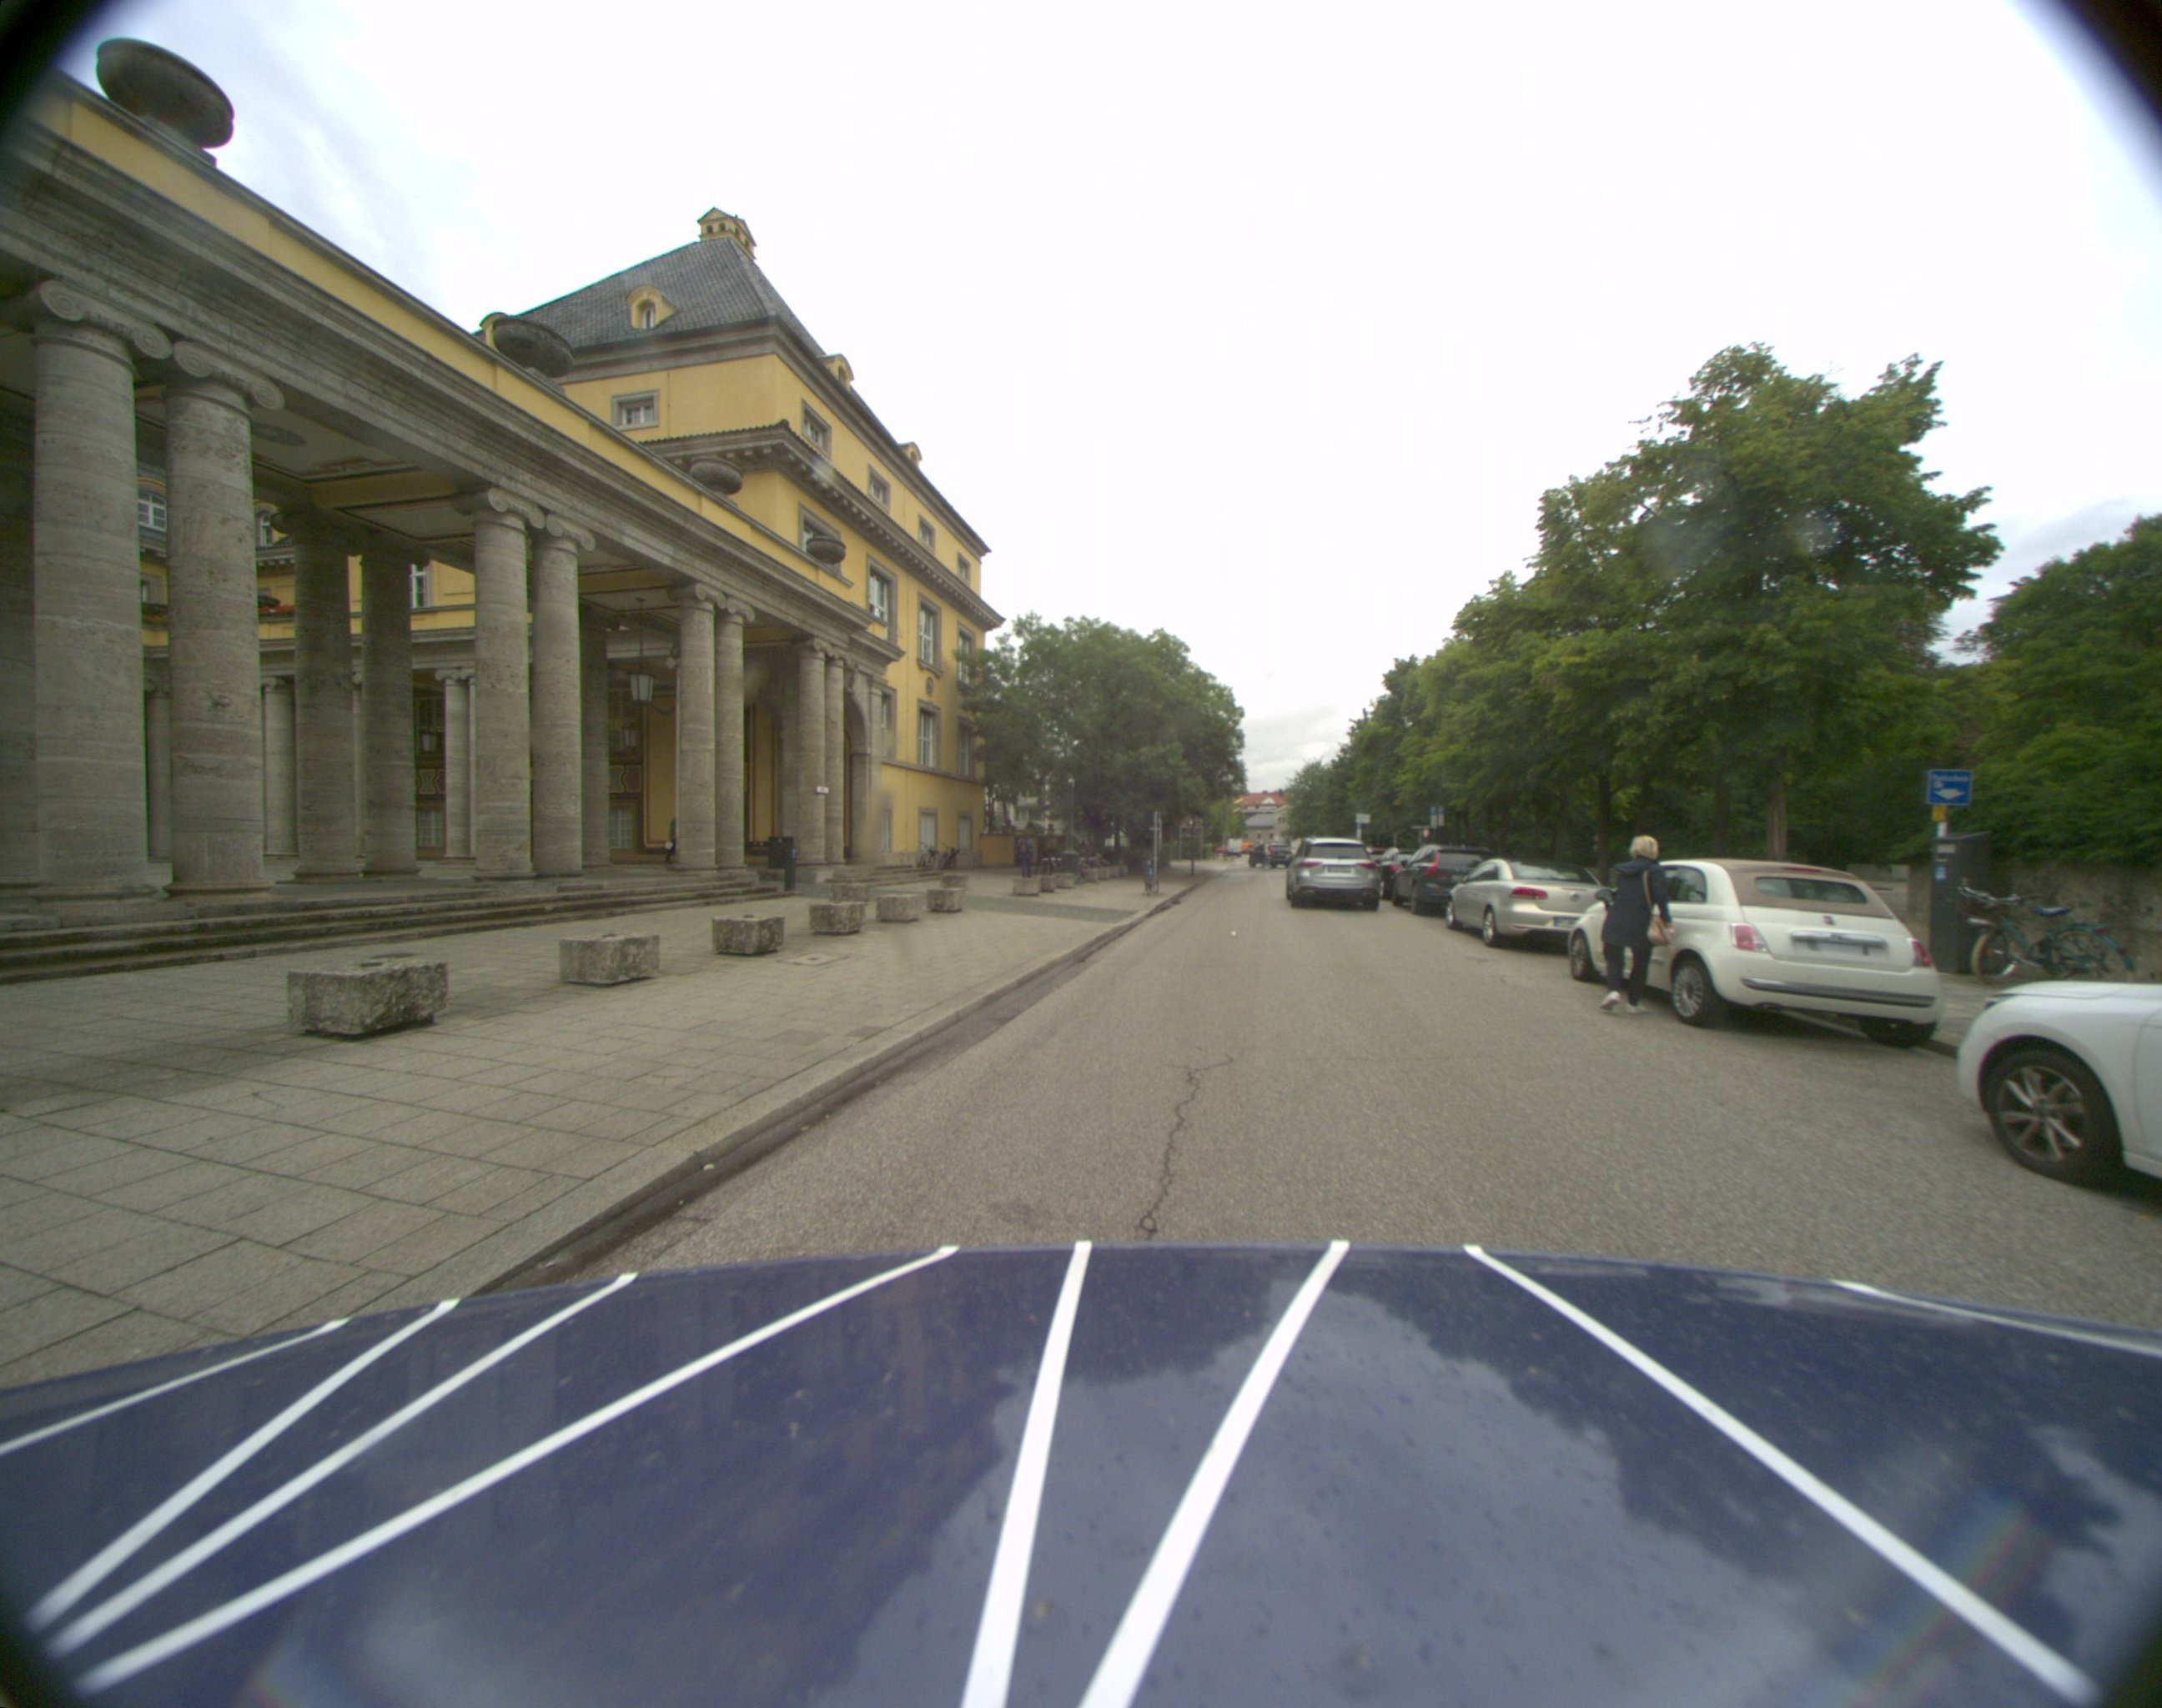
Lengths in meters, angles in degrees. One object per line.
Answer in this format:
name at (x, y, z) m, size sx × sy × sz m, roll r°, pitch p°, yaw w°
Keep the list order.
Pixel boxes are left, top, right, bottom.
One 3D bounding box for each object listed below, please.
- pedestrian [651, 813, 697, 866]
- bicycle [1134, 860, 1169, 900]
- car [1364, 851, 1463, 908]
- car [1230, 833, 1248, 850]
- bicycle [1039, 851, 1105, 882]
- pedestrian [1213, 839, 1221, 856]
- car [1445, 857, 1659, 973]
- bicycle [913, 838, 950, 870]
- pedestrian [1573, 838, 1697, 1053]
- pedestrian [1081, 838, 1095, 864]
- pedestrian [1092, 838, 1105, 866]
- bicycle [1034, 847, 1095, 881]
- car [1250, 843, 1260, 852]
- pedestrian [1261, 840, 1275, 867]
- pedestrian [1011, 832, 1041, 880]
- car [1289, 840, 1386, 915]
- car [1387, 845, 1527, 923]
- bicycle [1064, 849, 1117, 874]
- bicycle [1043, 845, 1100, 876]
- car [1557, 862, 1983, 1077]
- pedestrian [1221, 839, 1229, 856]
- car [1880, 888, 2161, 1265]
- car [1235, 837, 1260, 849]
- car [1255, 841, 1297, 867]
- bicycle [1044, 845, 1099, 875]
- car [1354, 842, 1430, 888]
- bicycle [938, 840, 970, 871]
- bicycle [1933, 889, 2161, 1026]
pedestrian at (-13.562, -0.480, 25.357) m, size 0.983 × 1.710 × 0.806 m, roll -2°, pitch 2°, yaw 2°
bicycle at (2.226, 0.786, 23.798) m, size 0.761 × 1.094 × 2.266 m, roll 3°, pitch 2°, yaw 13°
car at (9.980, 0.689, 23.174) m, size 1.996 × 1.453 × 4.651 m, roll 2°, pitch 1°, yaw 14°
car at (22.807, -1.818, 109.948) m, size 2.234 × 2.289 × 4.732 m, roll -2°, pitch 1°, yaw 8°
bicycle at (-0.320, 0.462, 28.466) m, size 2.367 × 1.000 × 0.678 m, roll 3°, pitch 2°, yaw 5°
pedestrian at (15.380, -0.708, 85.999) m, size 0.776 × 1.855 × 0.997 m, roll -2°, pitch 2°, yaw 5°
car at (7.457, 0.839, 12.555) m, size 1.760 × 1.392 × 4.221 m, roll 4°, pitch 2°, yaw 15°
bicycle at (-6.187, -0.021, 31.570) m, size 0.600 × 1.299 × 2.266 m, roll 2°, pitch 2°, yaw 13°
pedestrian at (4.954, 0.758, 6.786) m, size 0.688 × 1.742 × 0.895 m, roll 5°, pitch 2°, yaw 43°
pedestrian at (0.476, -0.220, 52.876) m, size 0.740 × 1.735 × 0.842 m, roll 4°, pitch 3°, yaw 13°
pedestrian at (1.202, -0.147, 52.805) m, size 0.658 × 1.855 × 0.821 m, roll 4°, pitch 3°, yaw 13°
bicycle at (-0.621, 0.381, 29.772) m, size 2.262 × 1.089 × 0.601 m, roll 6°, pitch 3°, yaw 2°
car at (37.695, -1.372, 164.578) m, size 2.219 × 1.840 × 4.734 m, roll -2°, pitch 1°, yaw 13°
pedestrian at (12.429, -0.044, 50.529) m, size 0.797 × 1.722 × 0.661 m, roll -2°, pitch 2°, yaw 12°
pedestrian at (-2.027, 0.059, 27.881) m, size 0.789 × 1.736 × 1.057 m, roll 2°, pitch 2°, yaw 13°
car at (6.520, 0.496, 19.772) m, size 2.027 × 1.680 × 4.682 m, roll 2°, pitch 1°, yaw 15°
car at (8.826, 0.596, 18.288) m, size 1.996 × 1.574 × 4.526 m, roll 2°, pitch 1°, yaw 13°
bicycle at (0.423, 0.327, 34.495) m, size 2.259 × 1.005 × 0.602 m, roll 3°, pitch 1°, yaw 16°
bicycle at (-0.391, 0.257, 31.531) m, size 2.262 × 1.053 × 0.601 m, roll 6°, pitch 3°, yaw 2°
car at (6.333, 0.884, 7.578) m, size 1.545 × 1.462 × 3.556 m, roll 3°, pitch 2°, yaw 13°
pedestrian at (16.282, -0.759, 85.742) m, size 0.776 × 1.855 × 0.998 m, roll -2°, pitch 2°, yaw 7°
car at (5.029, 1.002, 2.159) m, size 1.683 × 1.432 × 4.283 m, roll 4°, pitch 2°, yaw 14°
car at (37.443, -2.512, 171.143) m, size 2.577 × 2.521 × 4.975 m, roll -3°, pitch 2°, yaw -33°
car at (13.974, -0.036, 54.694) m, size 1.964 × 1.672 × 4.912 m, roll 2°, pitch 2°, yaw 4°
bicycle at (-0.397, 0.245, 32.470) m, size 2.262 × 1.018 × 0.601 m, roll 6°, pitch 3°, yaw 2°
car at (11.478, 0.351, 28.349) m, size 1.996 × 1.535 × 4.368 m, roll 2°, pitch 1°, yaw 14°
bicycle at (-5.641, 0.051, 33.868) m, size 0.600 × 1.299 × 2.167 m, roll 2°, pitch 2°, yaw 13°
bicycle at (9.744, 0.990, 7.736) m, size 0.644 × 1.158 × 1.528 m, roll -1°, pitch 1°, yaw 12°
